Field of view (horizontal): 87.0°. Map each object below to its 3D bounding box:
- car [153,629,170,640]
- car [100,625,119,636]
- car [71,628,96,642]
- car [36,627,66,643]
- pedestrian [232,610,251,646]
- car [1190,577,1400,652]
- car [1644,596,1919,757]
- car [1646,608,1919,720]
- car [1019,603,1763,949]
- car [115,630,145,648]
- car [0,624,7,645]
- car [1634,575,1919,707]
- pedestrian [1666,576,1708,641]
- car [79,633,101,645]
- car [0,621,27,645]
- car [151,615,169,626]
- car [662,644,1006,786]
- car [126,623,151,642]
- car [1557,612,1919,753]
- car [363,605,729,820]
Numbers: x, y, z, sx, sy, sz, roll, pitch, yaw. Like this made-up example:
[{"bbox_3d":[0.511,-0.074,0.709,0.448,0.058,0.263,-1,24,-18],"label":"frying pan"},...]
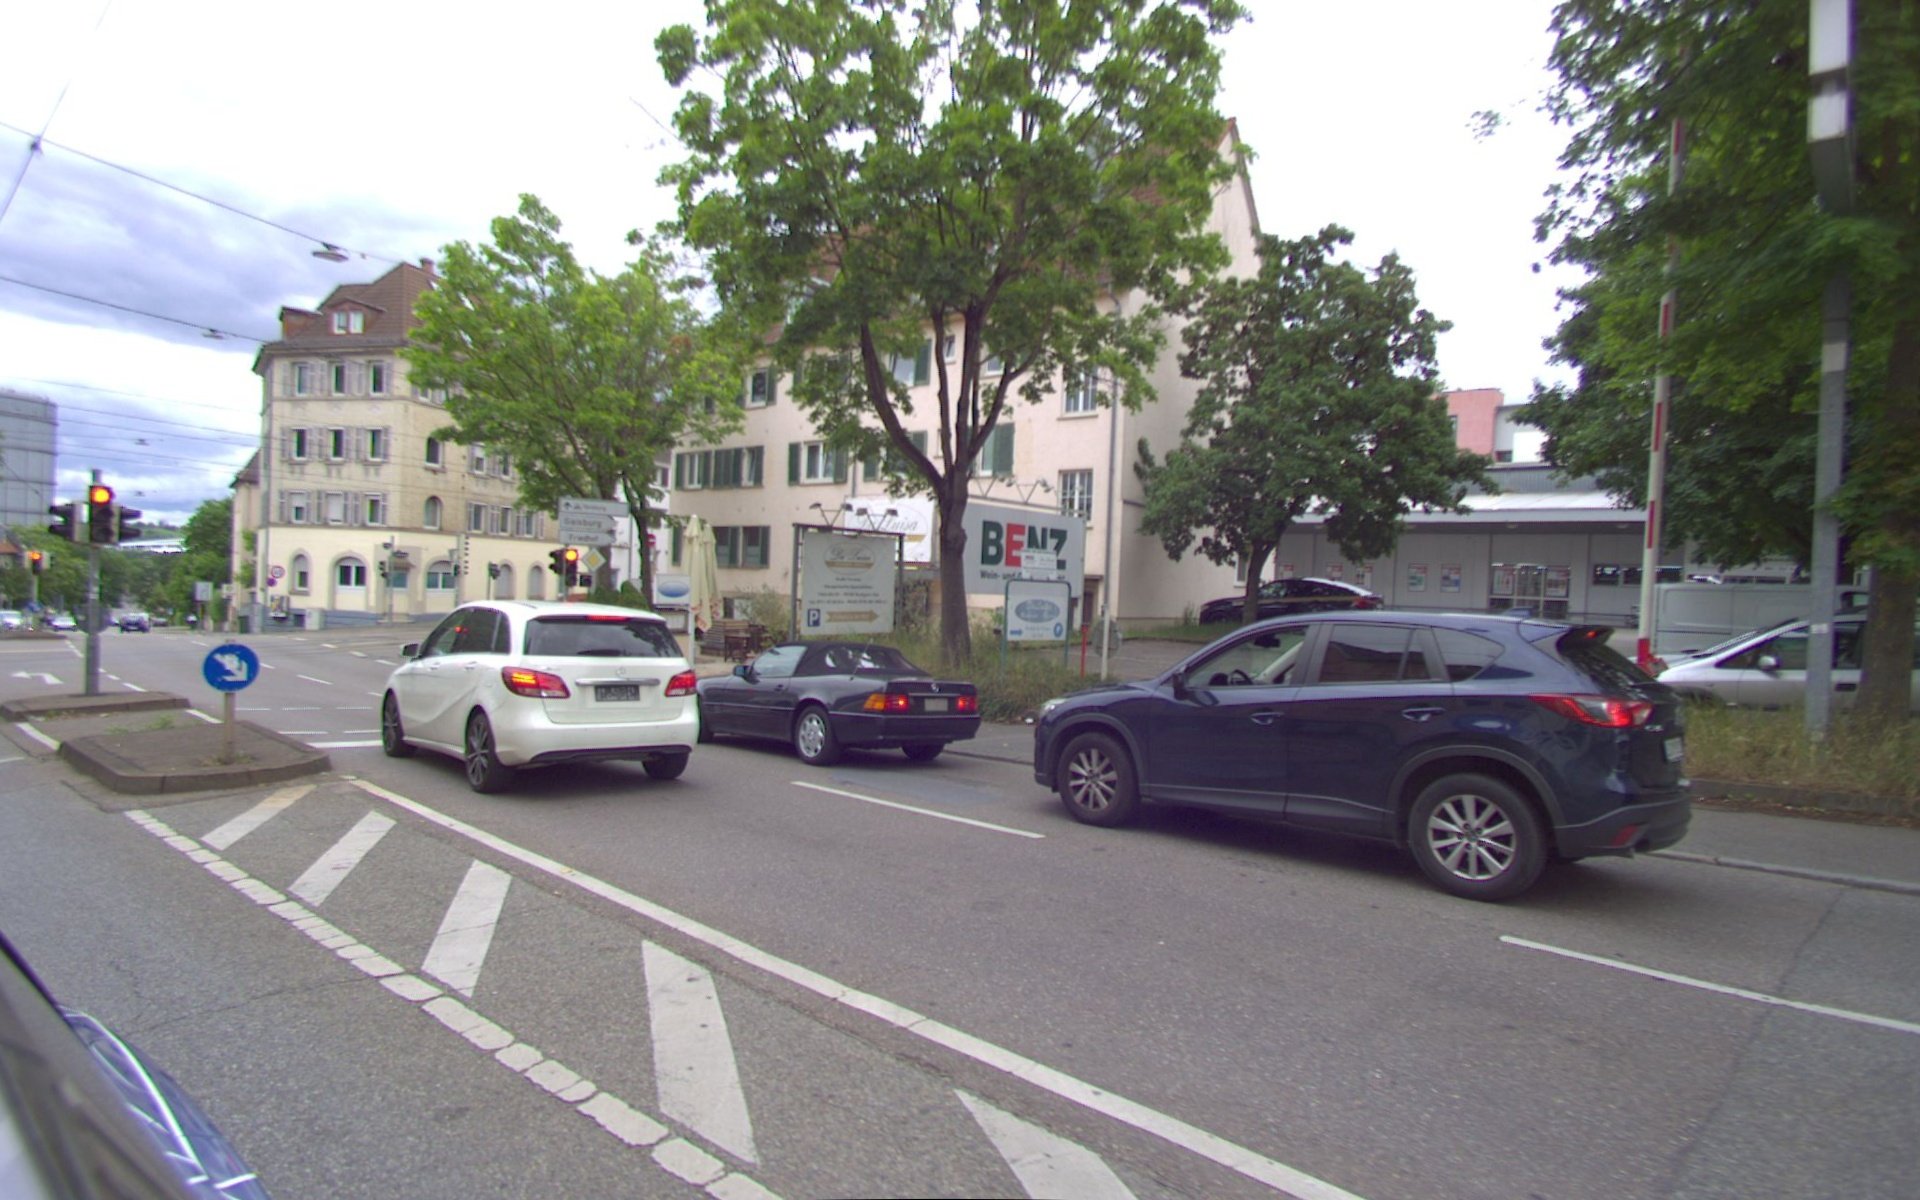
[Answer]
[{"bbox_3d":[-126.910,5.416,160.825,1.967,1.612,4.009,-1,0,-37],"label":"car"},{"bbox_3d":[-134.401,4.760,159.921,1.967,1.612,4.009,-1,0,-37],"label":"car"},{"bbox_3d":[-108.085,4.314,124.851,1.967,1.612,4.009,-1,0,-37],"label":"car"},{"bbox_3d":[-95.867,3.646,106.722,1.967,1.612,4.009,-1,0,-37],"label":"car"},{"bbox_3d":[-40.573,1.575,57.133,0.735,1.951,0.905,-2,1,-39],"label":"pedestrian"},{"bbox_3d":[8.821,0.381,26.817,4.900,1.817,2.041,-1,0,37],"label":"car"},{"bbox_3d":[9.709,0.748,10.647,3.997,1.512,1.690,-1,1,41],"label":"car"},{"bbox_3d":[12.388,0.868,14.663,3.992,1.421,1.692,-1,1,36],"label":"car"},{"bbox_3d":[2.732,0.933,7.124,4.415,1.655,1.929,-1,-4,44],"label":"car"},{"bbox_3d":[-70.388,3.285,85.888,1.731,1.458,3.760,0,-1,-36],"label":"car"},{"bbox_3d":[-62.860,2.249,65.016,1.888,1.309,4.419,-1,0,-37],"label":"car"},{"bbox_3d":[13.668,0.611,16.694,4.000,1.916,1.805,-1,1,43],"label":"car"},{"bbox_3d":[22.452,0.263,31.282,0.699,1.965,0.824,-1,0,5],"label":"pedestrian"},{"bbox_3d":[-117.575,5.260,136.867,1.967,1.612,4.009,-1,0,-37],"label":"car"},{"bbox_3d":[-67.696,2.335,71.653,1.967,1.642,4.419,-1,0,-36],"label":"car"},{"bbox_3d":[-120.220,3.131,152.065,1.967,1.612,4.009,-1,0,-37],"label":"car"},{"bbox_3d":[-1.624,1.215,11.826,1.781,1.291,4.239,5,-4,-44],"label":"car"},{"bbox_3d":[-84.868,3.342,104.518,1.841,1.898,4.293,4,-4,-39],"label":"car"},{"bbox_3d":[10.251,0.953,13.139,1.688,1.512,4.002,-3,2,-45],"label":"car"},{"bbox_3d":[-4.089,0.904,9.571,1.754,1.558,4.330,5,-4,-42],"label":"car"}]
